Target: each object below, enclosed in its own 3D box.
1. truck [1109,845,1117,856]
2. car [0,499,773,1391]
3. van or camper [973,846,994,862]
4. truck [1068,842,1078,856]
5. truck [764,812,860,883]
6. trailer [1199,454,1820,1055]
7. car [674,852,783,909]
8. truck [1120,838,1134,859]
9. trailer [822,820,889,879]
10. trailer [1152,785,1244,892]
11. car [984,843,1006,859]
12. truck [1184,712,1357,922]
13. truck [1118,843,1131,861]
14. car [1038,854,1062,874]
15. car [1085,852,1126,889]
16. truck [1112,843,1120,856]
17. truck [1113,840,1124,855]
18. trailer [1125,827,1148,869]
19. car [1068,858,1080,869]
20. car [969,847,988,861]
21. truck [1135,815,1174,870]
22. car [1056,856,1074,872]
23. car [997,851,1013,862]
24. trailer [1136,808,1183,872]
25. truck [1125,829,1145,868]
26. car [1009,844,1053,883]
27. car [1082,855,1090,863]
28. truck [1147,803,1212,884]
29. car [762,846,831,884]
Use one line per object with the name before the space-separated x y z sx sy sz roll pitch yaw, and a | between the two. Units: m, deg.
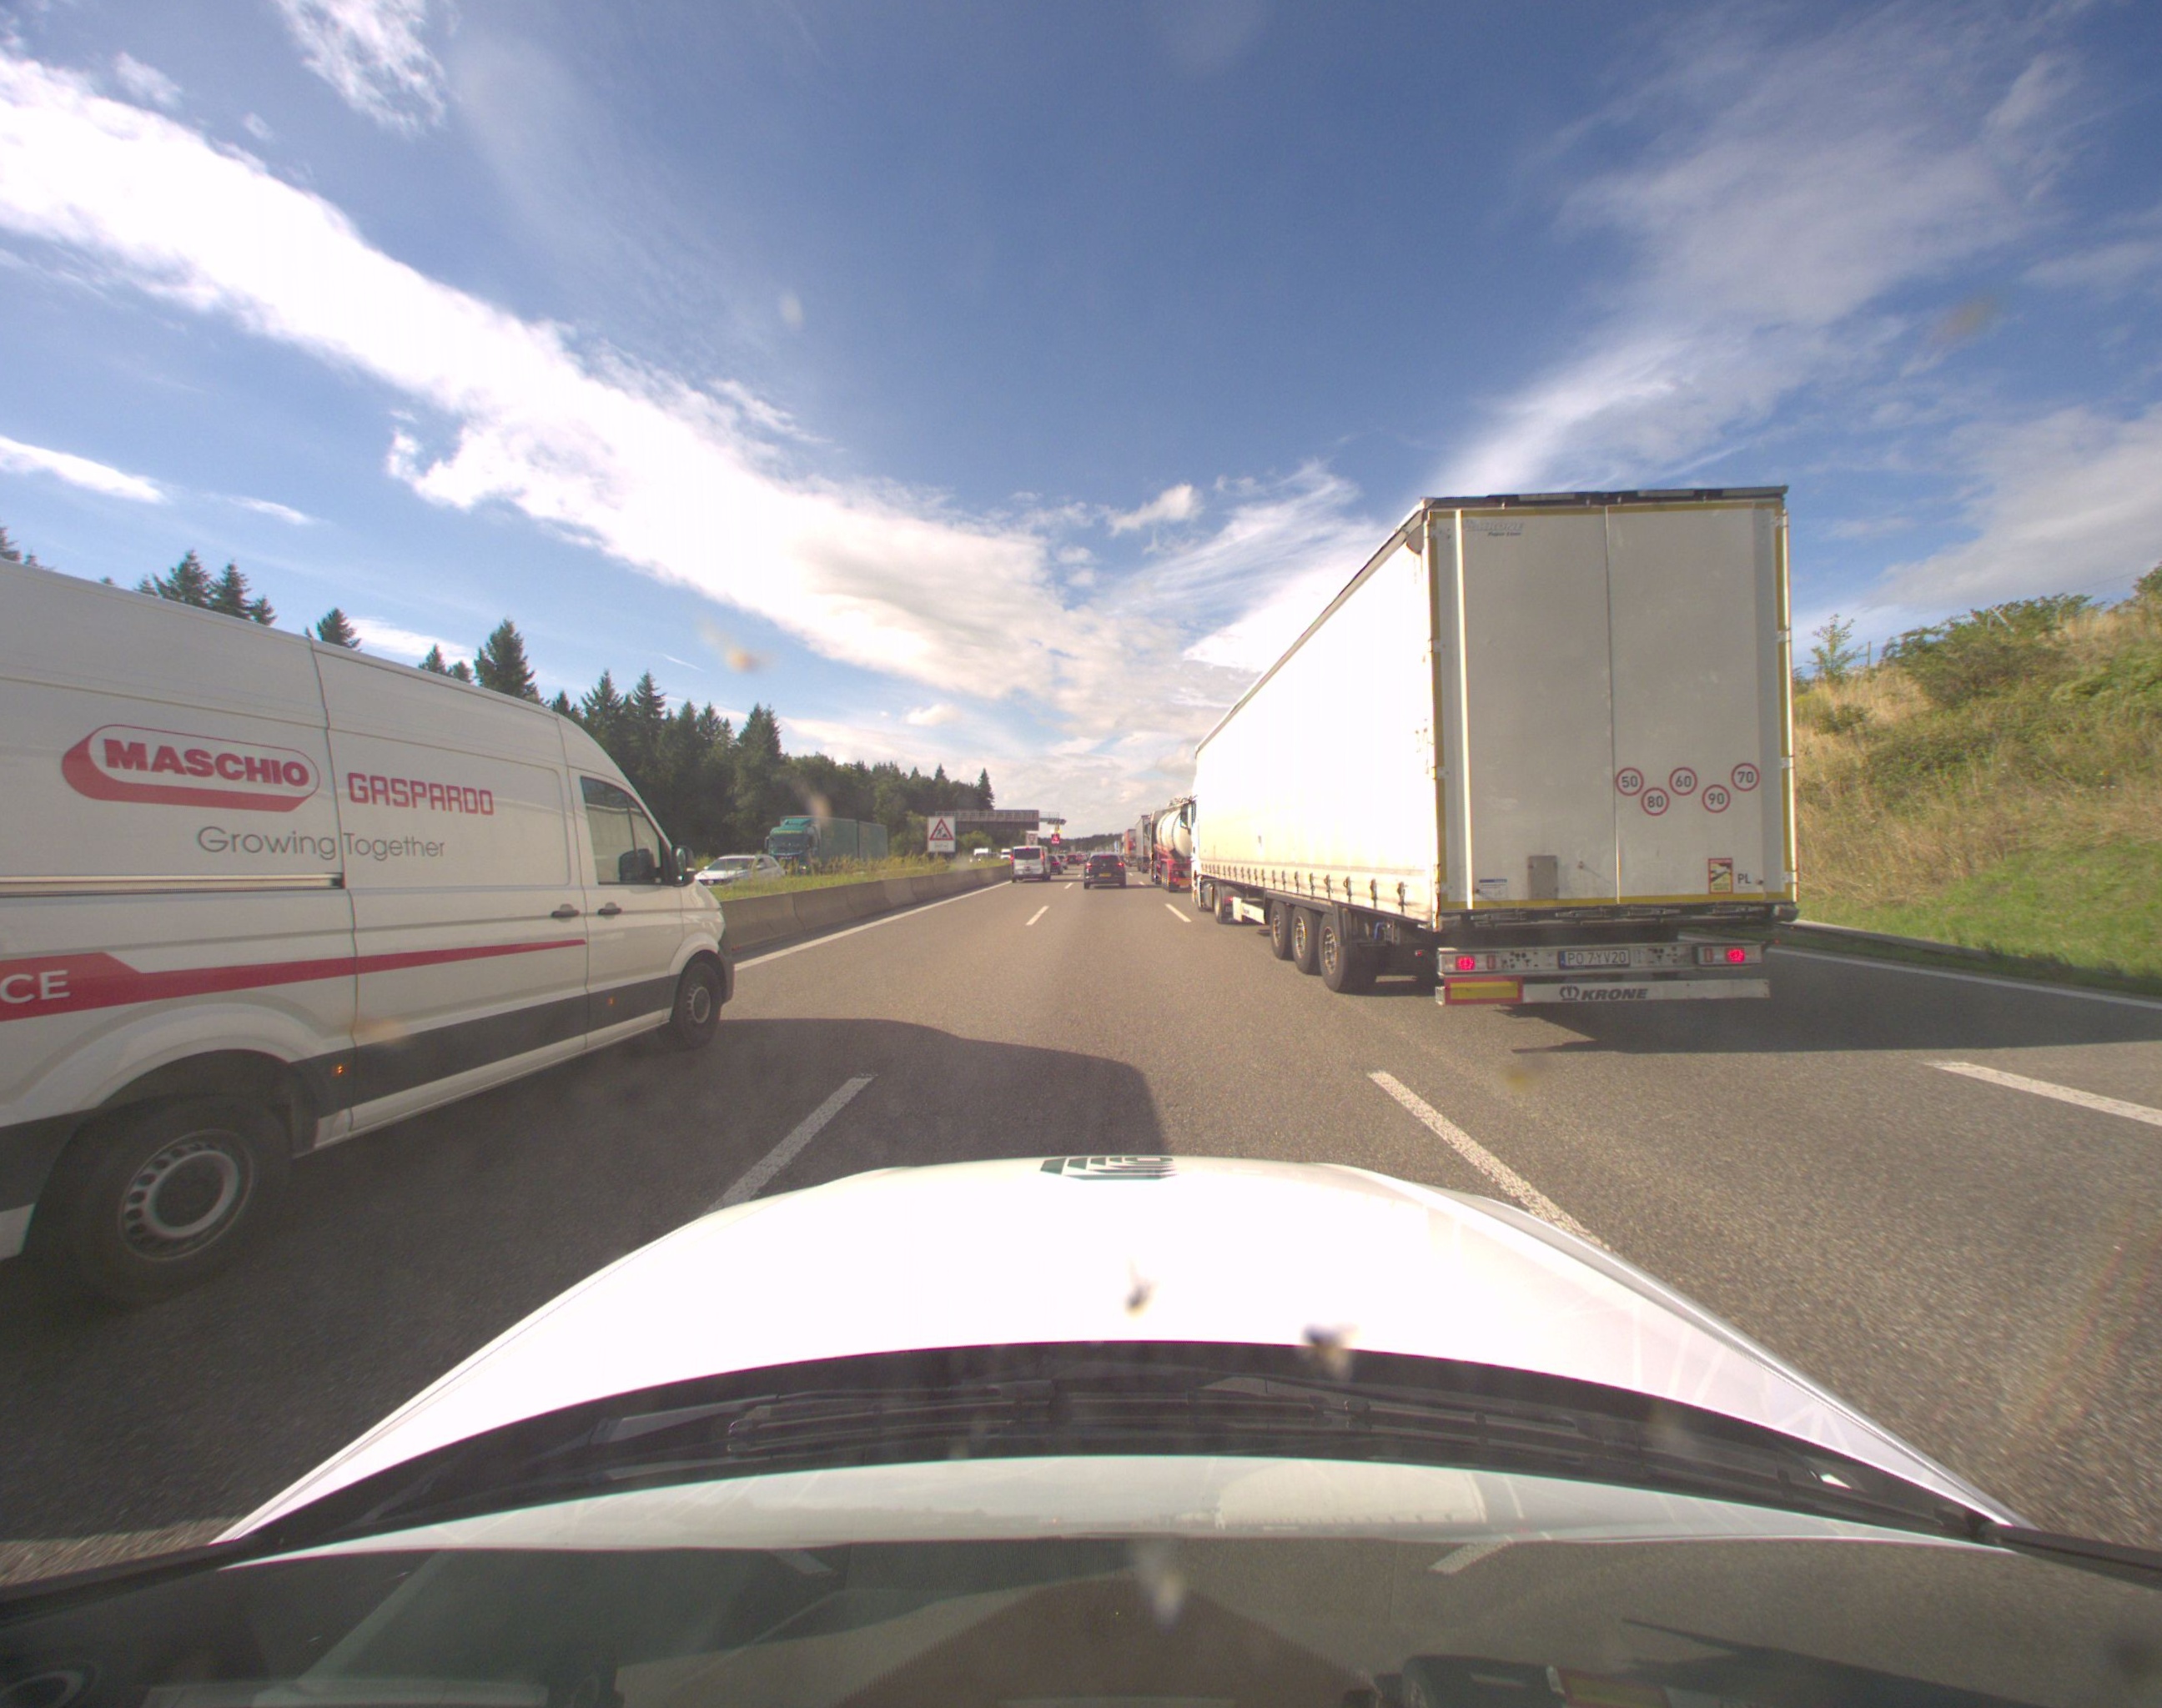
truck | 9.198 -0.927 235.082 1.986 3.052 4.984 2 0 2
car | -4.068 0.258 4.638 2.007 2.599 6.185 -1 0 2
van or camper | -15.407 0.037 129.024 2.450 2.414 5.853 -1 0 1
truck | -2.159 -1.387 225.863 2.335 3.594 6.308 2 0 2
truck | -17.656 -0.354 54.373 2.702 4.244 10.345 -1 0 1
trailer | 3.888 -0.693 12.093 2.693 4.082 12.949 -1 0 2
car | -11.141 0.785 26.007 1.664 1.624 3.768 2 0 2
truck | 6.690 -0.730 118.985 1.986 2.932 4.984 2 0 2
trailer | -17.501 -0.334 63.823 2.716 4.244 8.553 -1 0 1
trailer | 4.473 -0.499 33.294 2.531 3.654 10.631 -1 0 2
car | -8.708 -0.273 82.712 1.663 1.582 4.001 2 0 2
truck | 4.110 -0.711 19.171 2.698 4.060 6.364 -1 0 2
truck | 7.292 -0.382 137.783 1.986 2.932 4.984 2 0 2
car | -2.187 0.727 58.528 1.494 1.396 3.477 0 0 2
car | 1.057 0.681 35.582 1.690 1.483 4.161 0 0 2
truck | 8.937 -1.083 208.036 1.986 3.052 4.984 2 0 2
truck | 7.554 -1.288 163.540 1.986 3.052 4.984 2 0 2
trailer | 5.933 -0.616 88.214 2.141 4.259 8.444 -1 0 2
car | -0.849 1.201 104.698 1.429 1.310 3.534 2 0 1
car | -15.510 0.053 123.640 2.232 2.057 5.083 -1 0 1
truck | 5.959 -0.867 66.979 2.775 4.247 6.463 -1 -1 3
car | -1.541 0.957 78.429 1.494 1.396 3.477 2 0 2
car | -15.252 0.492 163.012 2.308 2.193 6.864 2 0 1
trailer | 5.654 -0.902 60.477 2.791 4.244 11.063 -1 0 2
truck | 6.095 -0.613 92.223 2.125 4.282 6.342 -1 0 2
car | -2.722 0.503 45.614 1.926 1.979 5.100 2 0 2
car | 0.947 0.848 146.420 1.356 1.301 3.085 2 0 1
truck | 4.691 -0.458 39.905 2.524 3.584 6.732 -1 0 2
car | -13.517 0.496 38.963 1.821 1.684 3.811 -1 0 2
